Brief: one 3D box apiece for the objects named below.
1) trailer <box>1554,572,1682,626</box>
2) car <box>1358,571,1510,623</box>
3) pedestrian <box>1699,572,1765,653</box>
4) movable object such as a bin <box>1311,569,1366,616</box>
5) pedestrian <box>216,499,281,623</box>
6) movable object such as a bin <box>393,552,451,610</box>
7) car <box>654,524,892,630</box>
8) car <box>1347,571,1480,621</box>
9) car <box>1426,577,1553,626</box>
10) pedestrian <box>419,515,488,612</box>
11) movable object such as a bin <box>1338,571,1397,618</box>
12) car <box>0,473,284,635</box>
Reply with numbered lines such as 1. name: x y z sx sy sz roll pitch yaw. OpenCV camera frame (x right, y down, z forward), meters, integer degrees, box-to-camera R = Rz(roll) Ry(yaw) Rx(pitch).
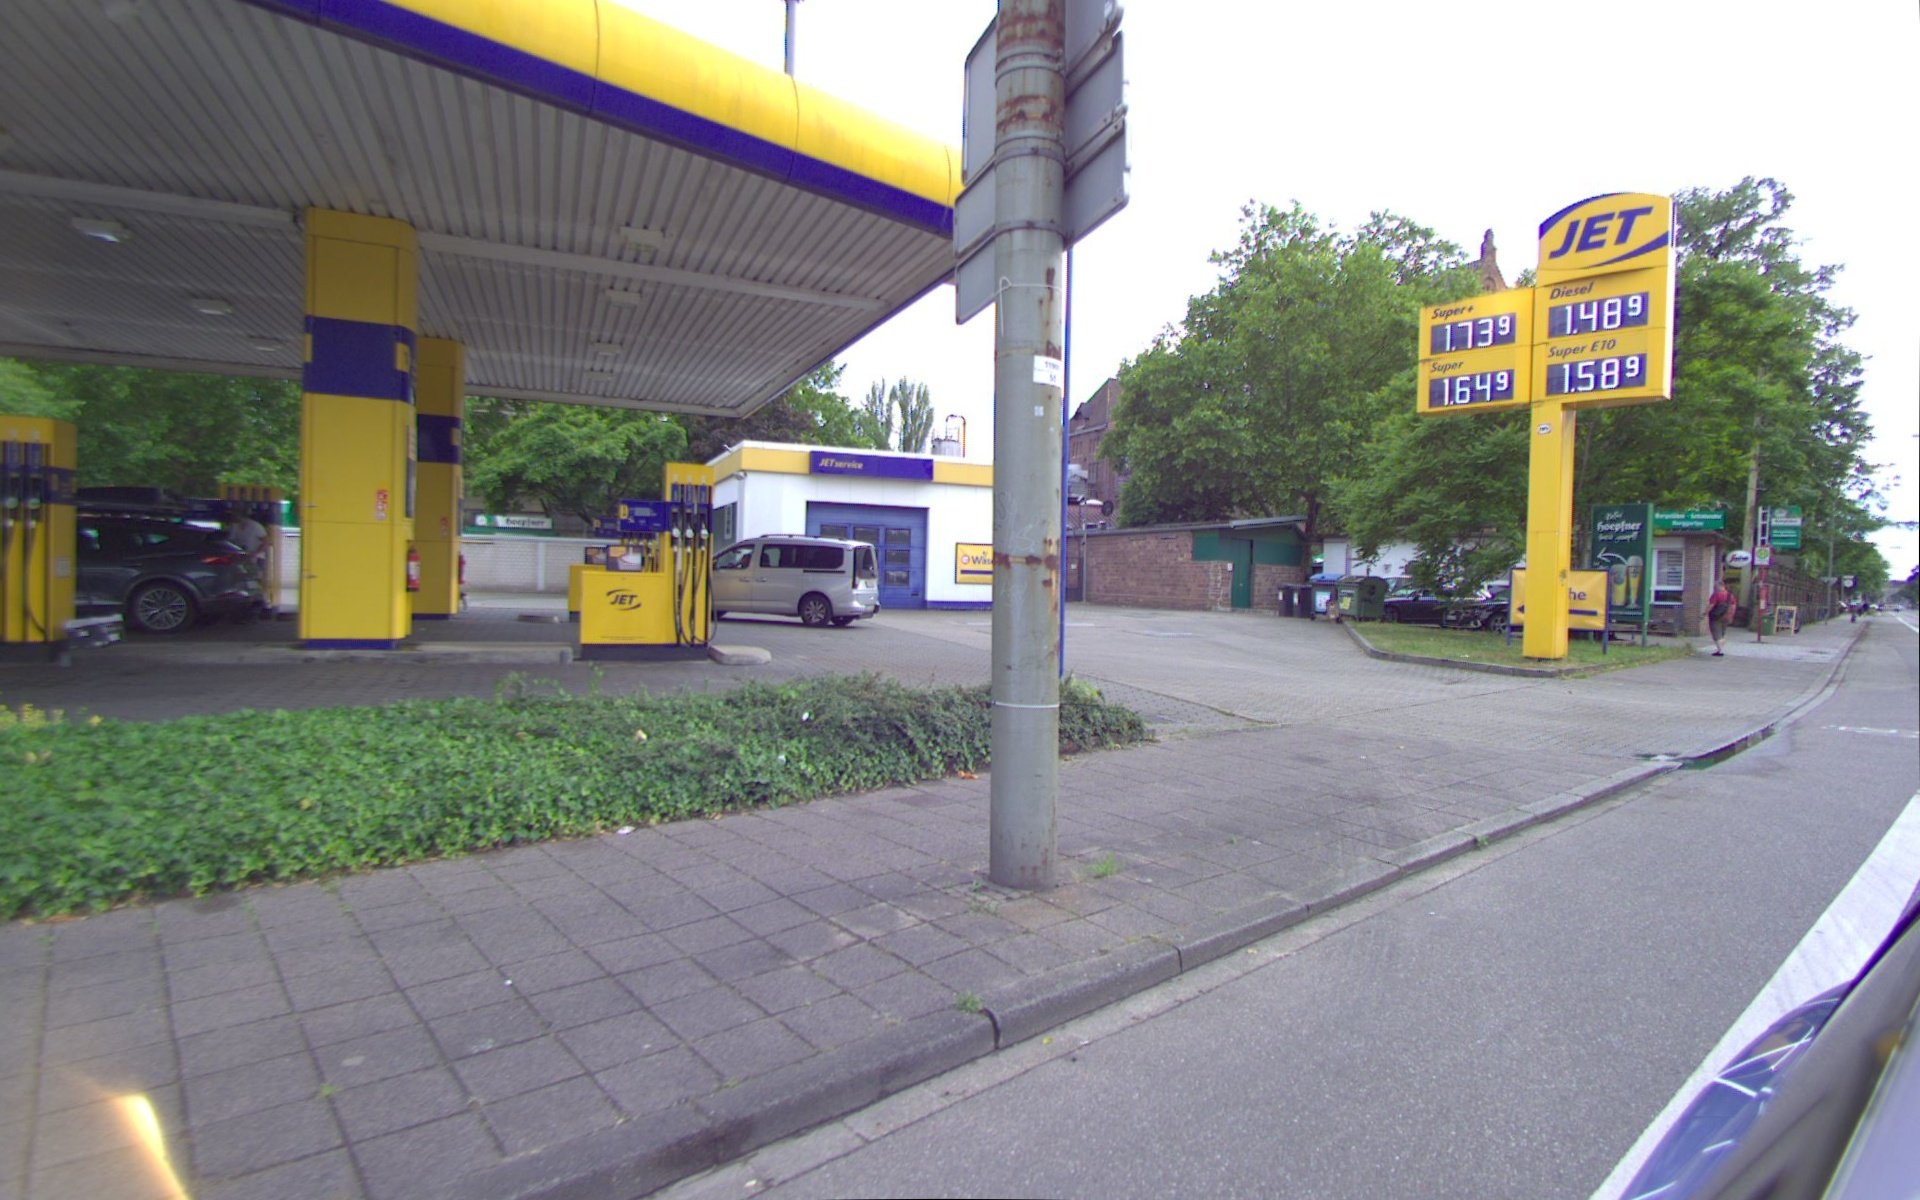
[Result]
1. trailer: 22.024 -0.084 33.911 3.285 1.549 1.746 5 5 45
2. car: 14.800 -0.100 31.714 3.919 1.536 1.829 0 1 -5
3. pedestrian: 17.899 0.280 23.480 0.859 1.768 0.846 4 4 19
4. movable object such as a bin: 11.480 -0.229 30.709 1.136 1.376 1.123 0 1 -12
5. pedestrian: -10.732 -0.576 15.282 0.614 1.809 0.709 0 0 -18
6. movable object such as a bin: -10.753 -0.377 20.249 0.781 1.079 0.603 4 1 2
7. car: -3.881 -0.518 21.258 4.459 1.865 1.981 4 3 12
8. car: 16.381 -0.172 36.637 3.988 1.687 1.968 1 1 45
9. car: 15.082 0.007 28.733 3.932 1.304 1.996 0 1 -43
10. pedestrian: -10.126 -0.721 20.246 0.952 1.842 0.603 4 1 2
11. movable object such as a bin: 11.884 -0.177 29.527 1.136 1.336 1.123 0 1 -12
12. car: -11.791 -0.617 13.678 4.166 2.012 1.828 0 3 -25
